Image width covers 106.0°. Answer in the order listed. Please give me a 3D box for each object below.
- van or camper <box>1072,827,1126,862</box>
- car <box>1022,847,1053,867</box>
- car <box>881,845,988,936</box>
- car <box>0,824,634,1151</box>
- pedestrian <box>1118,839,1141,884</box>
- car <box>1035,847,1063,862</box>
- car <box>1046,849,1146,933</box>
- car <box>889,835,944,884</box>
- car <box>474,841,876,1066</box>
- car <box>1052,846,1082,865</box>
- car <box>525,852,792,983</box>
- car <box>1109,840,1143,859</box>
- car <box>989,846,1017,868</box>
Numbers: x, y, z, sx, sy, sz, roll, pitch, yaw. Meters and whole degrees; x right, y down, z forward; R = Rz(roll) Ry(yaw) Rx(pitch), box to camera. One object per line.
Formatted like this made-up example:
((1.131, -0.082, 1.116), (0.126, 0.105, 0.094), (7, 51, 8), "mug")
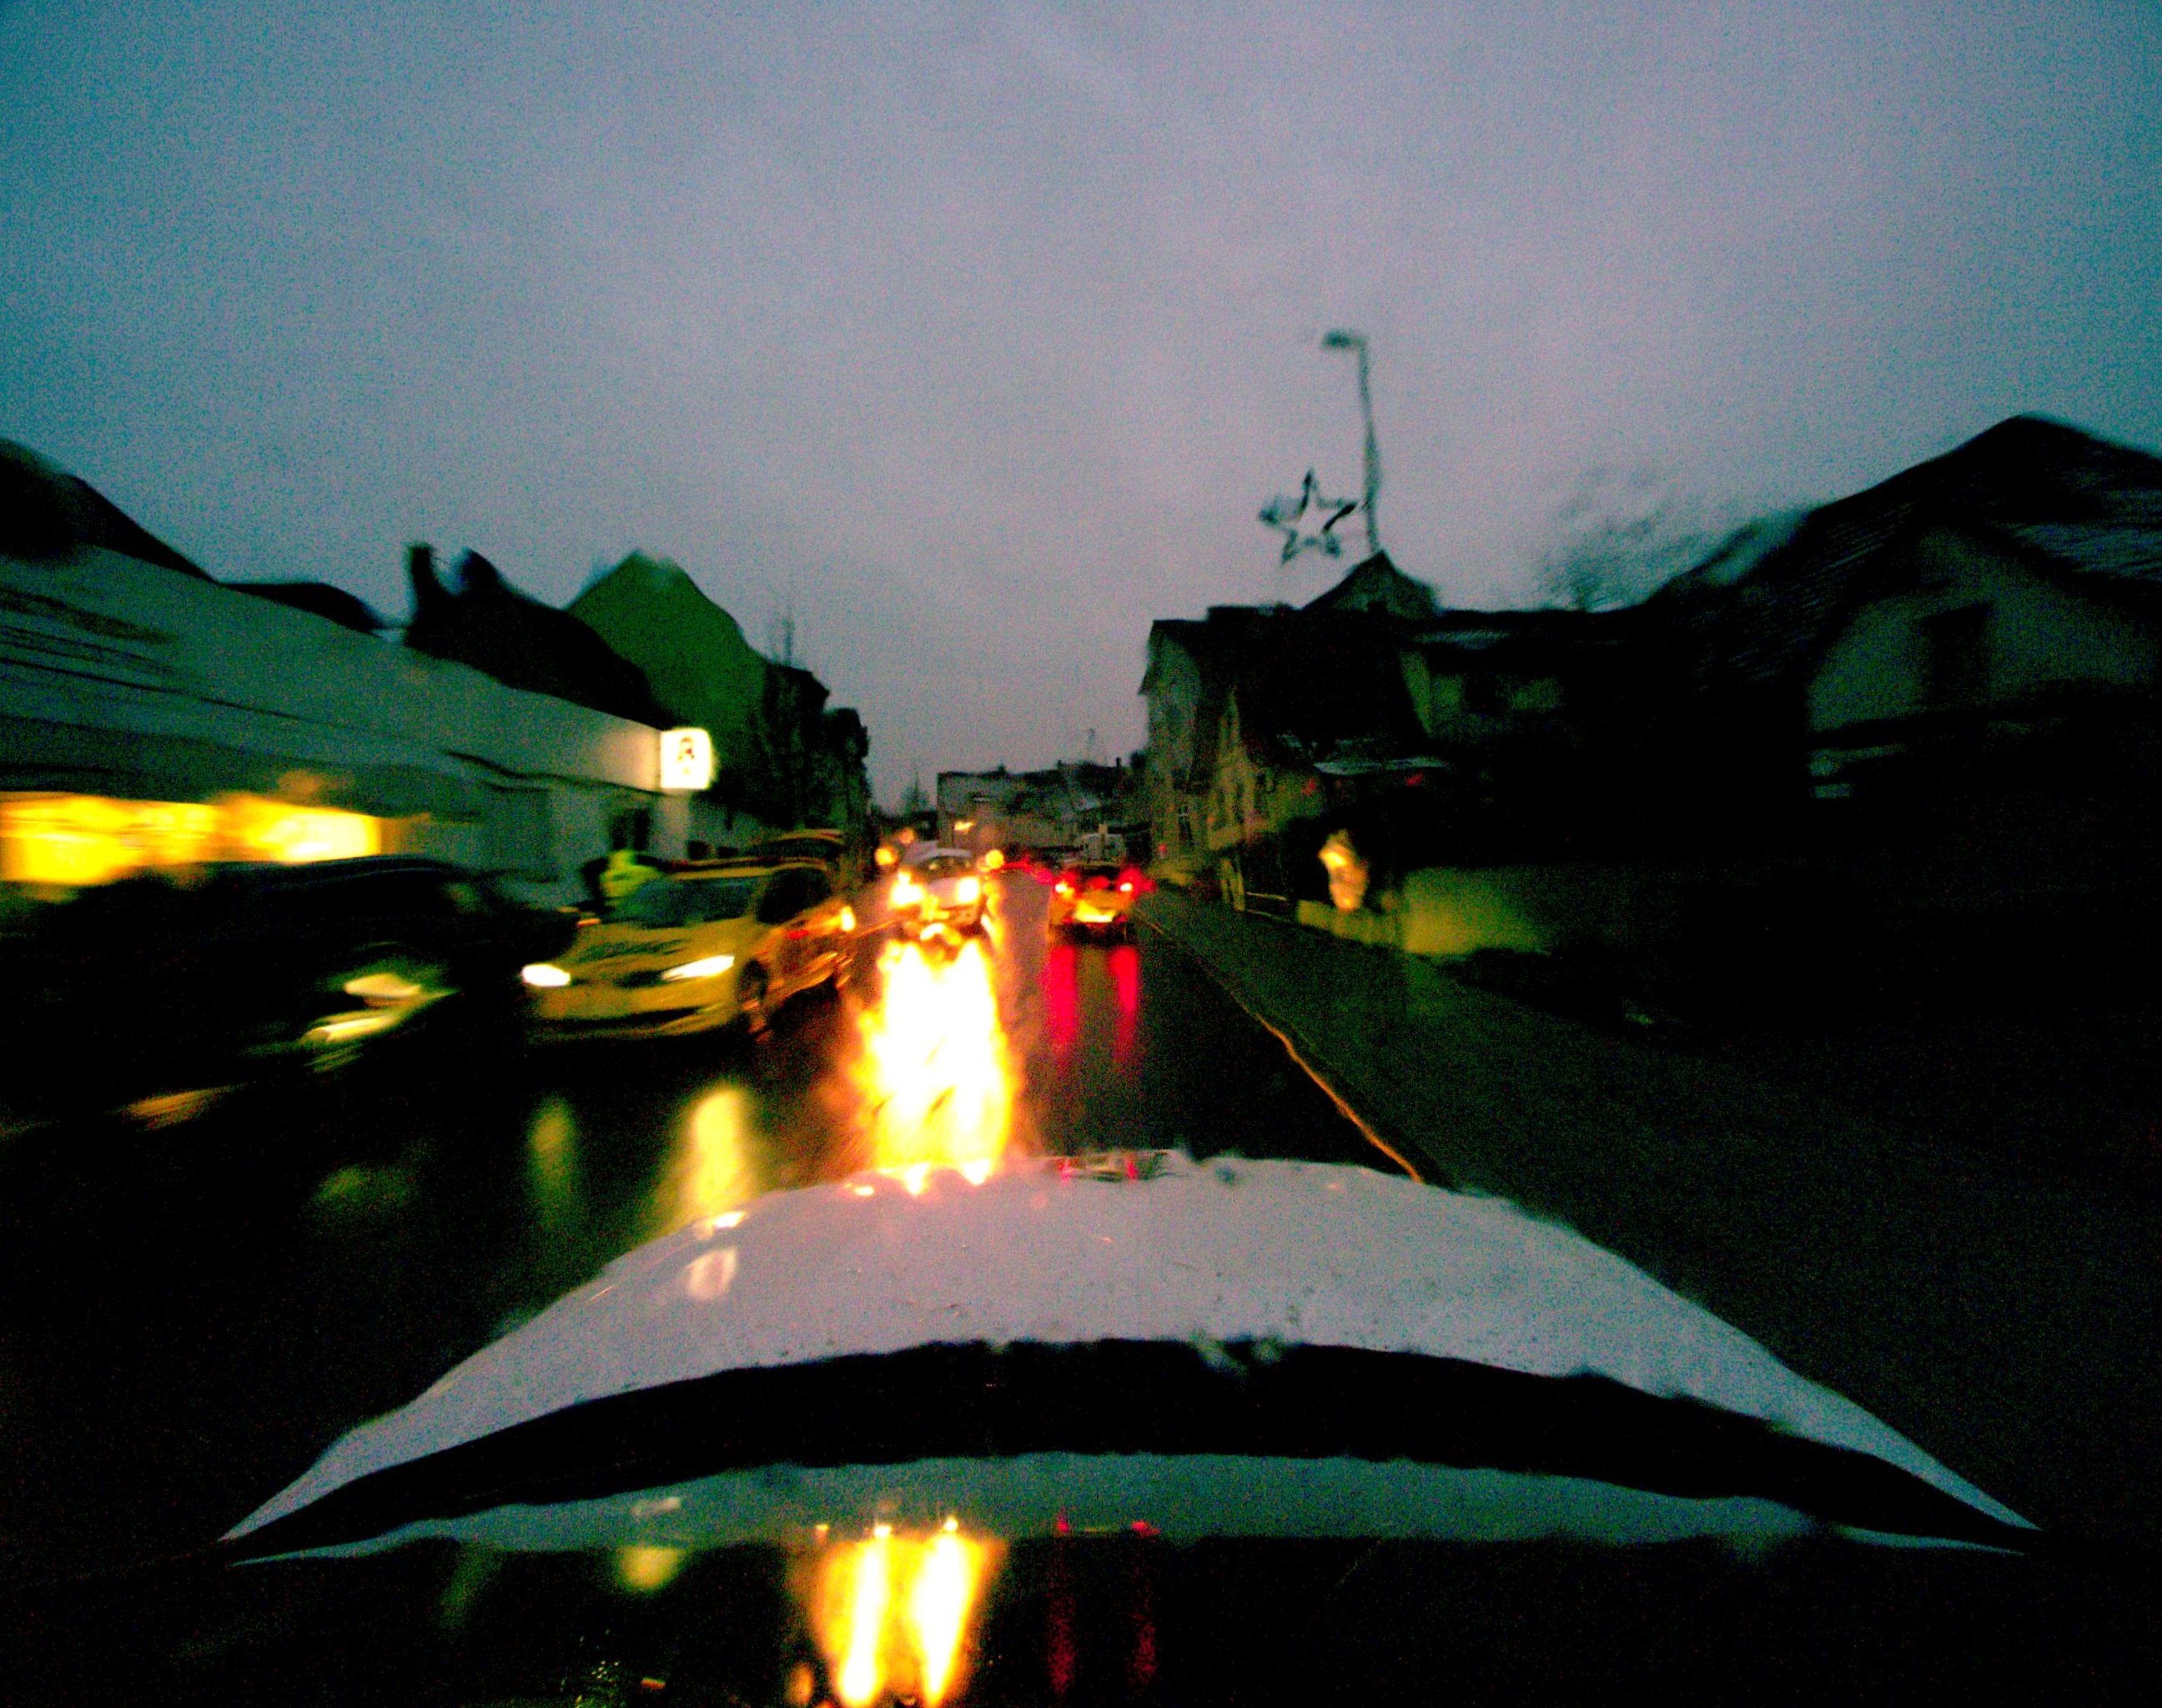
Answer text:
((1.678, -0.912, 79.937), (2.663, 3.047, 6.683), (-6, 1, -23), "van or camper")
((-4.234, 0.289, 78.706), (1.998, 1.765, 4.326), (-4, 1, -17), "car")
((-3.170, 0.702, 18.467), (1.949, 1.546, 4.408), (-3, 3, -6), "car")
((-6.163, 0.735, 7.025), (2.082, 1.792, 5.016), (-1, 0, -4), "car")
((1.909, 0.296, 32.108), (0.743, 1.729, 0.872), (-2, 1, -3), "pedestrian")
((-3.599, 0.027, 90.857), (1.828, 1.462, 4.519), (-4, 1, -19), "car")
((0.189, 0.694, 17.121), (1.810, 1.533, 3.995), (-1, 0, -3), "car")
((-9.228, 0.320, 46.243), (2.483, 2.560, 6.744), (-1, -1, -7), "car")
((-3.777, 0.738, 8.840), (1.988, 1.705, 4.964), (0, 1, -2), "car")
((-1.386, 0.159, 79.111), (1.997, 1.610, 4.153), (-4, -1, -14), "car")
((-6.465, 0.843, 13.204), (1.875, 1.710, 4.710), (-1, 0, -1), "car")
((4.379, -0.447, 79.753), (1.794, 1.553, 3.975), (-8, 2, -18), "car")
((-5.991, 0.250, 62.404), (1.992, 1.588, 3.989), (-1, 0, -8), "car")
